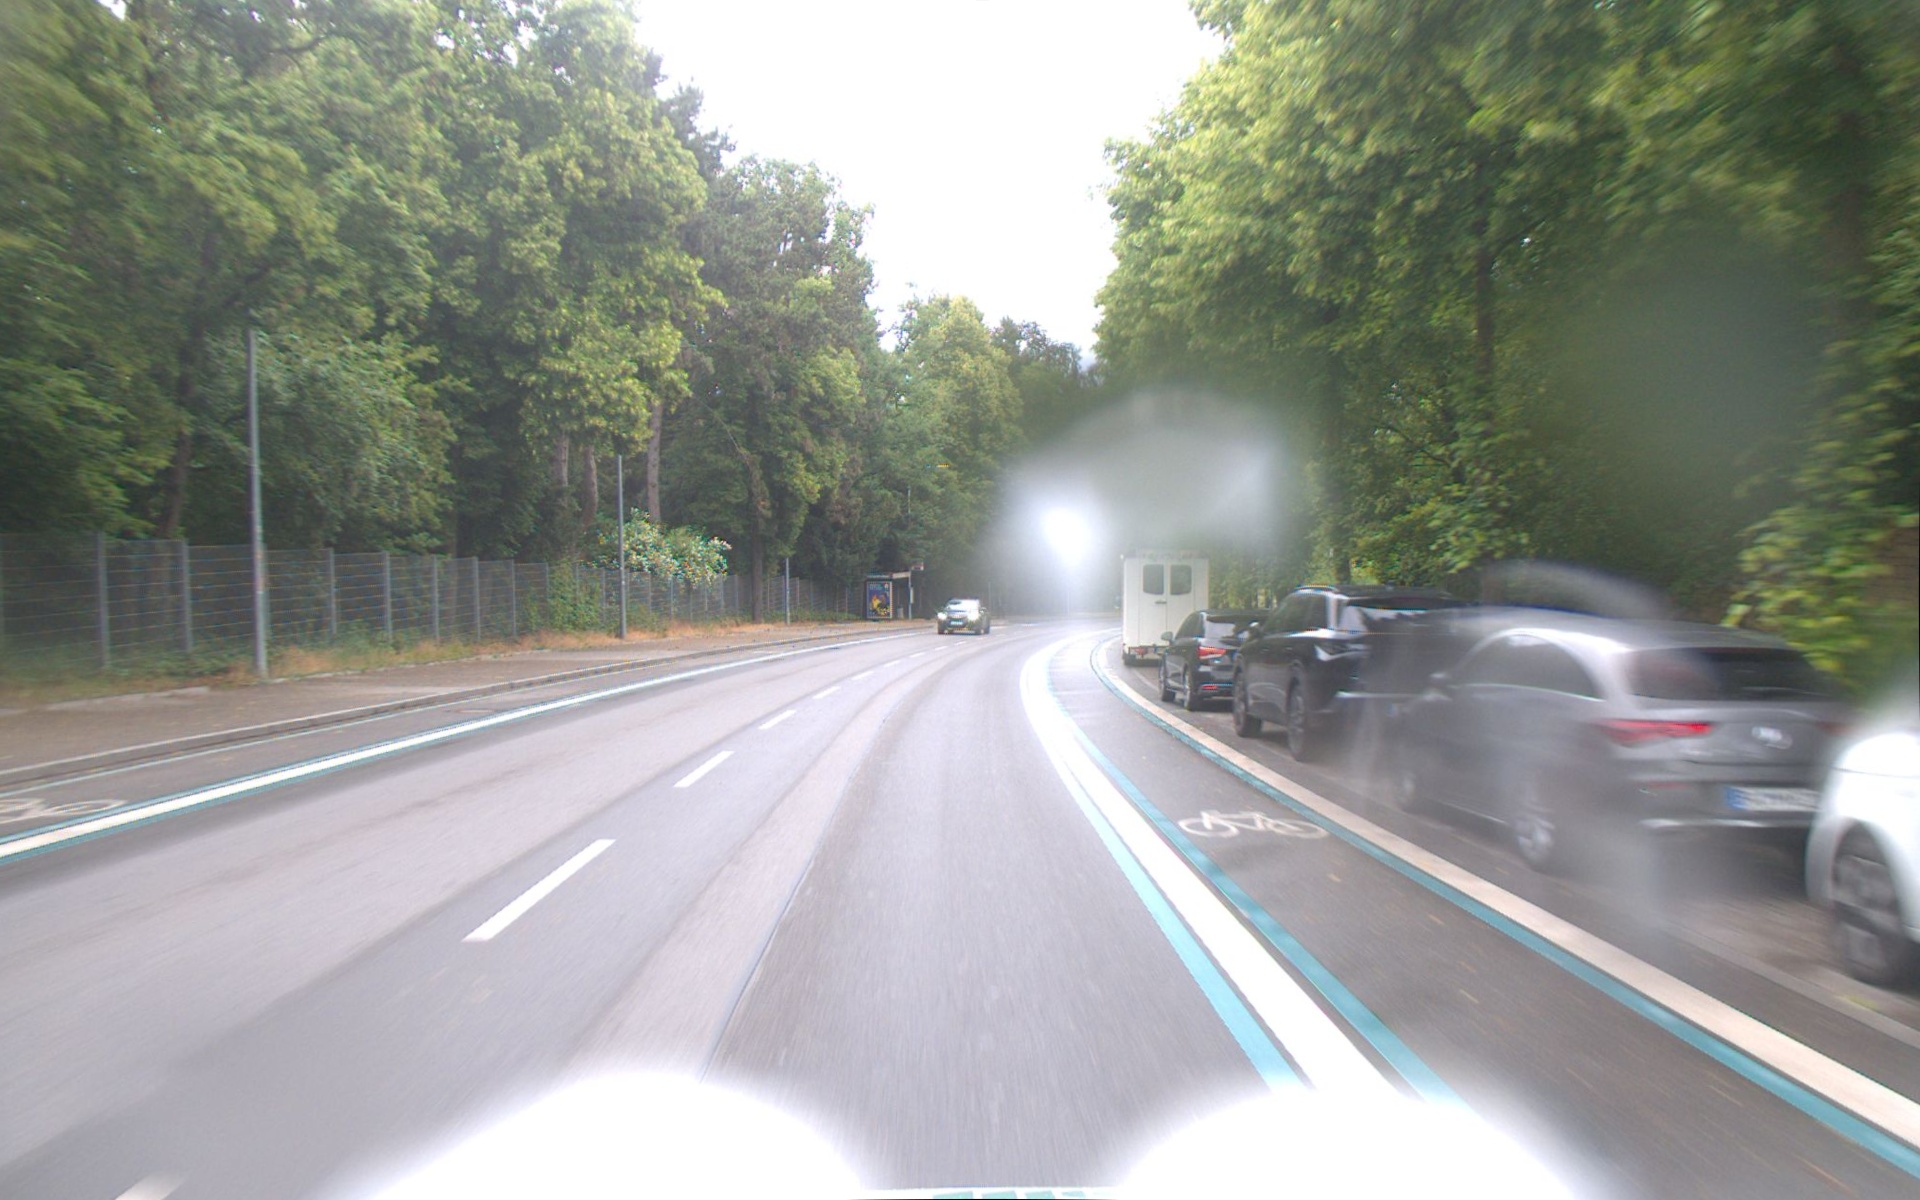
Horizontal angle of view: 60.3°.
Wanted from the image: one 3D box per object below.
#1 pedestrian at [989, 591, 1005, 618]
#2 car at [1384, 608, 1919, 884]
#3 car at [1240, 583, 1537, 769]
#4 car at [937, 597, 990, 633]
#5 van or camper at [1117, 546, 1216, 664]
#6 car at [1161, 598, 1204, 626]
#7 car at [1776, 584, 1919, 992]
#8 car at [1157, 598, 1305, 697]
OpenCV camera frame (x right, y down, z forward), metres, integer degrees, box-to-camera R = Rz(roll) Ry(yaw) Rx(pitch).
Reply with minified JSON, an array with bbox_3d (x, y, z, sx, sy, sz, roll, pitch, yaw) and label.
[{"bbox_3d":[2.427,0.274,107.455,0.868,1.763,1.147,1,0,9],"label":"pedestrian"},{"bbox_3d":[4.133,0.745,10.530,1.738,1.372,4.466,1,0,0],"label":"car"},{"bbox_3d":[4.225,0.722,17.056,1.952,1.674,4.348,0,-1,0],"label":"car"},{"bbox_3d":[0.180,0.594,69.559,1.722,1.462,4.154,0,0,7],"label":"car"},{"bbox_3d":[5.103,0.093,41.518,2.268,2.711,6.386,1,0,6],"label":"van or camper"},{"bbox_3d":[12.068,0.633,89.492,1.820,1.453,4.653,1,0,13],"label":"car"},{"bbox_3d":[4.510,0.730,5.549,1.627,1.562,3.740,1,0,-1],"label":"car"},{"bbox_3d":[4.080,0.703,25.468,1.644,1.400,4.000,0,-1,0],"label":"car"}]
